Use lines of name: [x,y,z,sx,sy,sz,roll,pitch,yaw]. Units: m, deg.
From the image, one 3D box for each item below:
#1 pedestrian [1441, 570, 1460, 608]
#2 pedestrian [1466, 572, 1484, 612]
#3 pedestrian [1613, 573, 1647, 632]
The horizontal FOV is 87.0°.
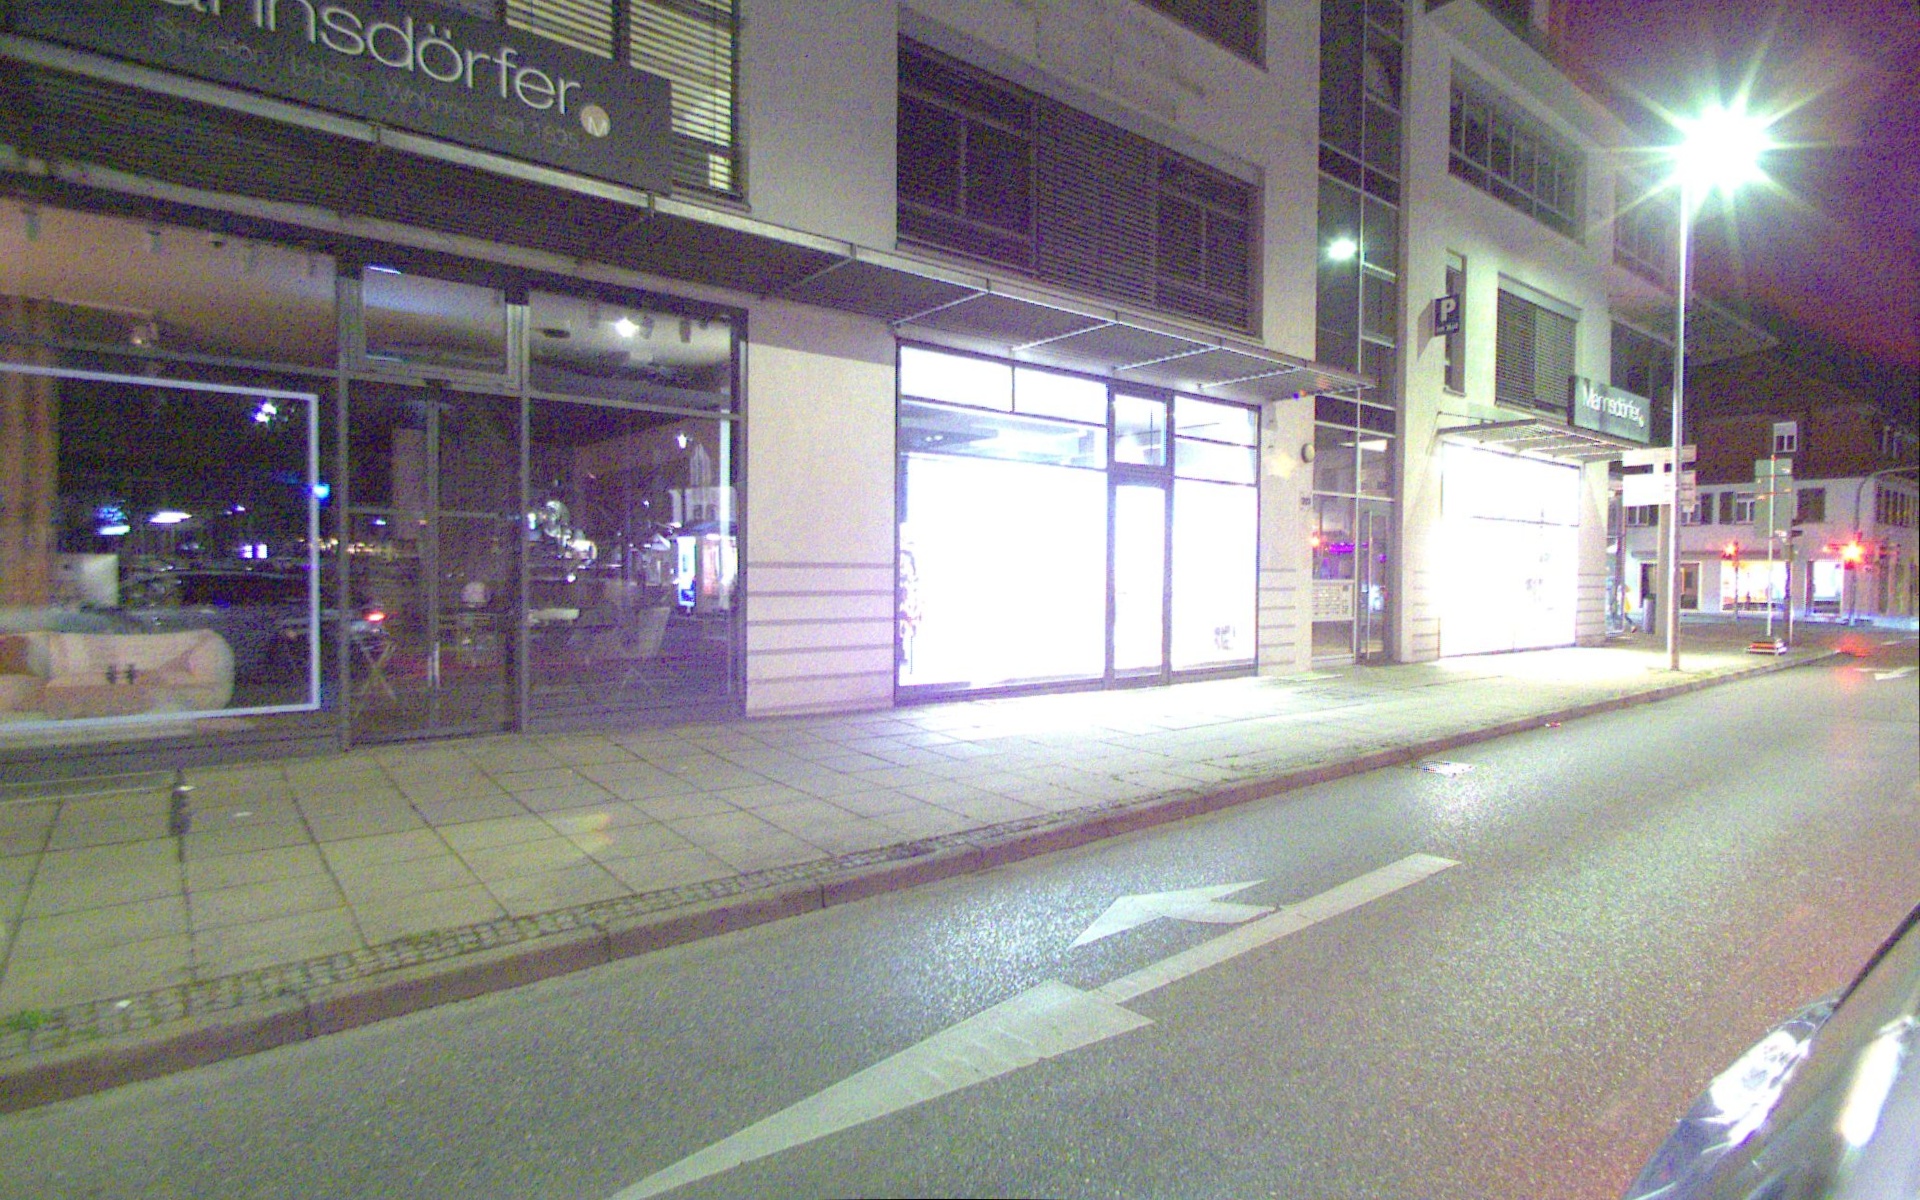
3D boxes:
pedestrian: [22.203,-0.498,45.807,0.556,1.738,0.567,0,0,-34]
pedestrian: [22.815,-0.348,44.809,0.556,1.738,0.524,0,0,-36]
pedestrian: [19.665,0.074,29.722,0.634,1.703,0.541,0,0,-19]
